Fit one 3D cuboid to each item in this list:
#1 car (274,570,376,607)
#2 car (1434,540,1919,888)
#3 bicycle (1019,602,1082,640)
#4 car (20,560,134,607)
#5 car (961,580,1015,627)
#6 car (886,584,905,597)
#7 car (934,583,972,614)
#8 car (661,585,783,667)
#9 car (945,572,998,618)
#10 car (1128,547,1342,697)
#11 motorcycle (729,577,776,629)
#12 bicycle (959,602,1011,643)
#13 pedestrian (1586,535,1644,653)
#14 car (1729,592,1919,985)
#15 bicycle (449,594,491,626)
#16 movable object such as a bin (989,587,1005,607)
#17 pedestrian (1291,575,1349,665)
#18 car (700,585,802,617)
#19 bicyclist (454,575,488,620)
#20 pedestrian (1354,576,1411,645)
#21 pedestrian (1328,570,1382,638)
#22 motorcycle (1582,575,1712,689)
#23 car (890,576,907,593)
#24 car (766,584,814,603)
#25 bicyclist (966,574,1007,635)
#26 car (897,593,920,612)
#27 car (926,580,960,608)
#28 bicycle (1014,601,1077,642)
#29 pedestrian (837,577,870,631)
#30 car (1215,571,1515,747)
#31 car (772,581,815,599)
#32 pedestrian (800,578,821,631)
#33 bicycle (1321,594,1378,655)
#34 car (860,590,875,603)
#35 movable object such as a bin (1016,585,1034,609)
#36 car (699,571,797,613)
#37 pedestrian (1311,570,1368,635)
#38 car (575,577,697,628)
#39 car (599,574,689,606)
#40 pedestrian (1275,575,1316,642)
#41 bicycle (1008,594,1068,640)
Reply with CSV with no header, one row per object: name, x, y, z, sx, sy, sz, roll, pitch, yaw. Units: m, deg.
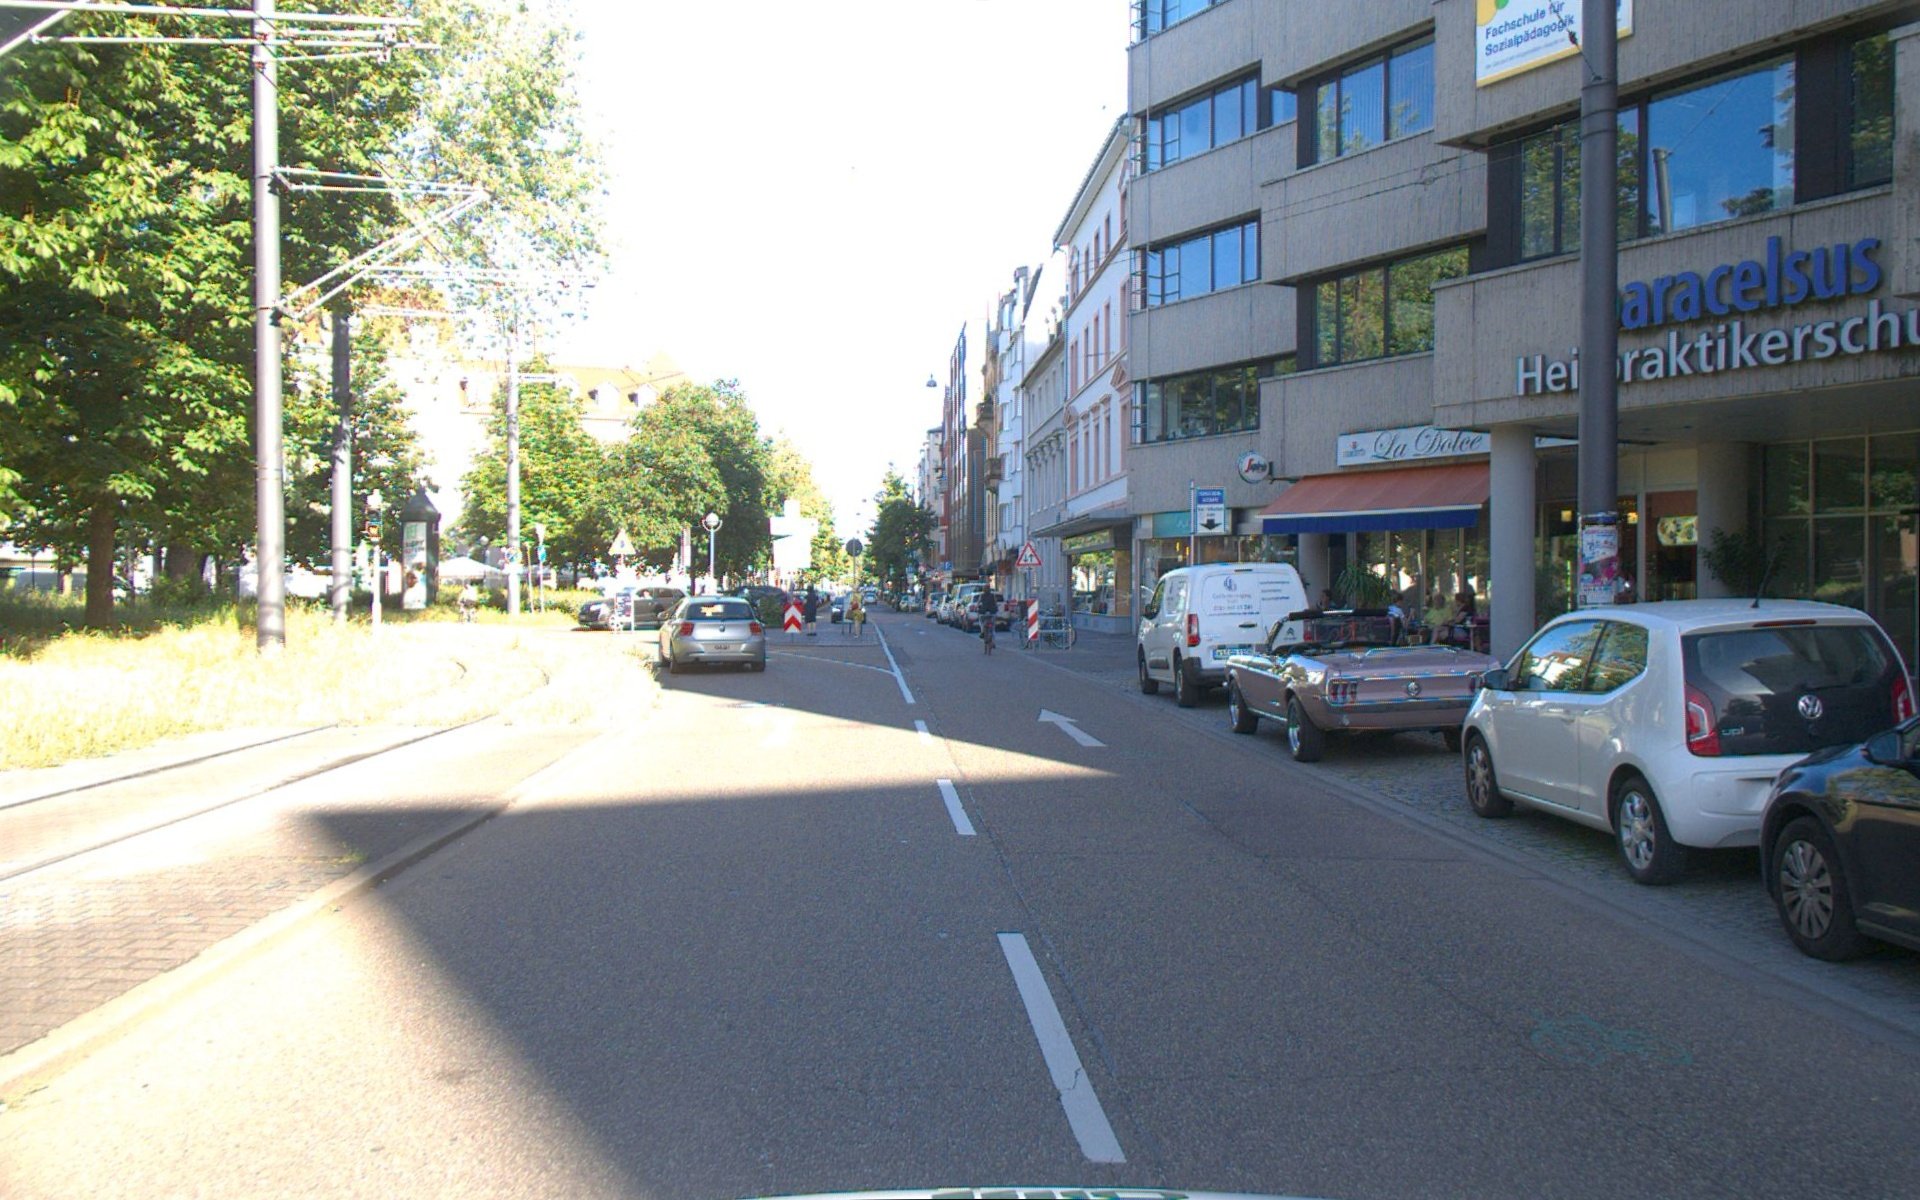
car,-38.336,-0.687,99.968,5.517,2.049,1.799,2,-1,-31
car,4.518,0.601,10.242,1.815,1.718,3.864,1,-1,-4
bicycle,2.498,0.576,45.584,1.667,1.022,0.428,1,-1,12
car,-47.541,-0.863,89.203,5.273,2.354,1.982,2,-1,-27
car,1.071,0.140,66.322,1.711,1.769,4.956,1,-1,-4
car,-7.018,-1.041,180.686,1.954,1.478,3.997,1,0,-4
car,-0.393,-0.064,86.215,1.684,1.541,3.579,-2,0,-4
car,-4.665,0.486,32.011,1.959,1.448,4.182,2,-1,-13
car,0.495,-0.238,76.704,1.955,2.040,5.112,0,1,-5
car,3.692,0.300,22.986,1.954,1.844,4.306,1,-1,-4
motorcycle,-5.808,0.089,46.306,0.737,1.398,1.745,2,-1,-27
bicycle,0.643,0.553,41.219,0.638,0.975,2.700,1,-1,15
pedestrian,10.501,-0.089,26.520,0.691,1.847,0.714,1,-1,35
car,4.618,0.756,5.980,1.637,1.545,4.198,1,-1,-1
bicycle,-17.026,0.334,57.447,0.801,1.087,2.556,2,-1,-30
movable object such as a bin,2.177,-0.173,96.626,0.859,1.143,0.828,1,-1,-4
pedestrian,7.129,0.393,32.763,0.833,1.740,0.712,-2,1,-32
car,-10.525,0.060,83.275,4.778,1.514,1.749,2,-1,-28
bicyclist,-16.968,-0.074,57.378,0.919,1.534,0.817,2,-1,-31
pedestrian,8.907,0.217,34.889,0.832,1.426,0.823,0,1,-29
pedestrian,8.559,0.091,35.824,0.833,1.427,0.744,2,0,-34
motorcycle,7.656,0.351,18.539,0.748,1.175,2.049,-2,-1,6
car,-7.557,-1.938,204.503,1.954,2.049,3.997,1,0,-4
car,-14.461,-0.548,140.517,3.907,1.534,1.999,1,0,-3
bicyclist,0.663,0.117,41.277,0.769,1.478,1.096,1,-1,15
car,-4.623,0.247,148.388,1.953,1.646,4.009,2,-1,-1
car,-1.113,-0.395,107.373,1.861,1.704,4.821,1,-1,-4
bicycle,2.340,0.594,45.225,1.643,1.081,0.344,1,-1,12
pedestrian,-3.433,0.136,53.152,0.791,1.729,0.665,0,-1,44
car,3.871,0.532,16.665,1.738,1.479,4.729,1,-1,-2
car,-15.682,-0.918,156.271,3.907,1.534,1.893,1,0,-3
pedestrian,-4.838,0.136,53.607,0.623,1.701,0.692,1,-1,-3
bicycle,6.995,0.444,29.757,0.551,1.052,1.643,1,-1,-3
car,-11.589,-0.408,207.802,1.833,1.583,3.997,1,-1,-3
movable object such as a bin,3.127,-0.135,79.176,0.779,1.095,0.660,-3,-1,-2
car,-9.263,-0.338,72.177,3.928,1.697,1.989,2,0,-20
pedestrian,7.915,0.058,34.529,0.827,1.315,0.827,-1,0,-16
car,-11.273,0.080,57.615,3.834,1.711,1.786,0,0,-40
car,-19.959,-0.630,104.578,5.209,1.831,2.141,2,-1,-31
pedestrian,6.422,0.163,31.694,0.617,1.258,0.624,-2,-1,0
bicycle,2.222,0.493,47.039,1.587,1.265,0.659,1,-1,16
